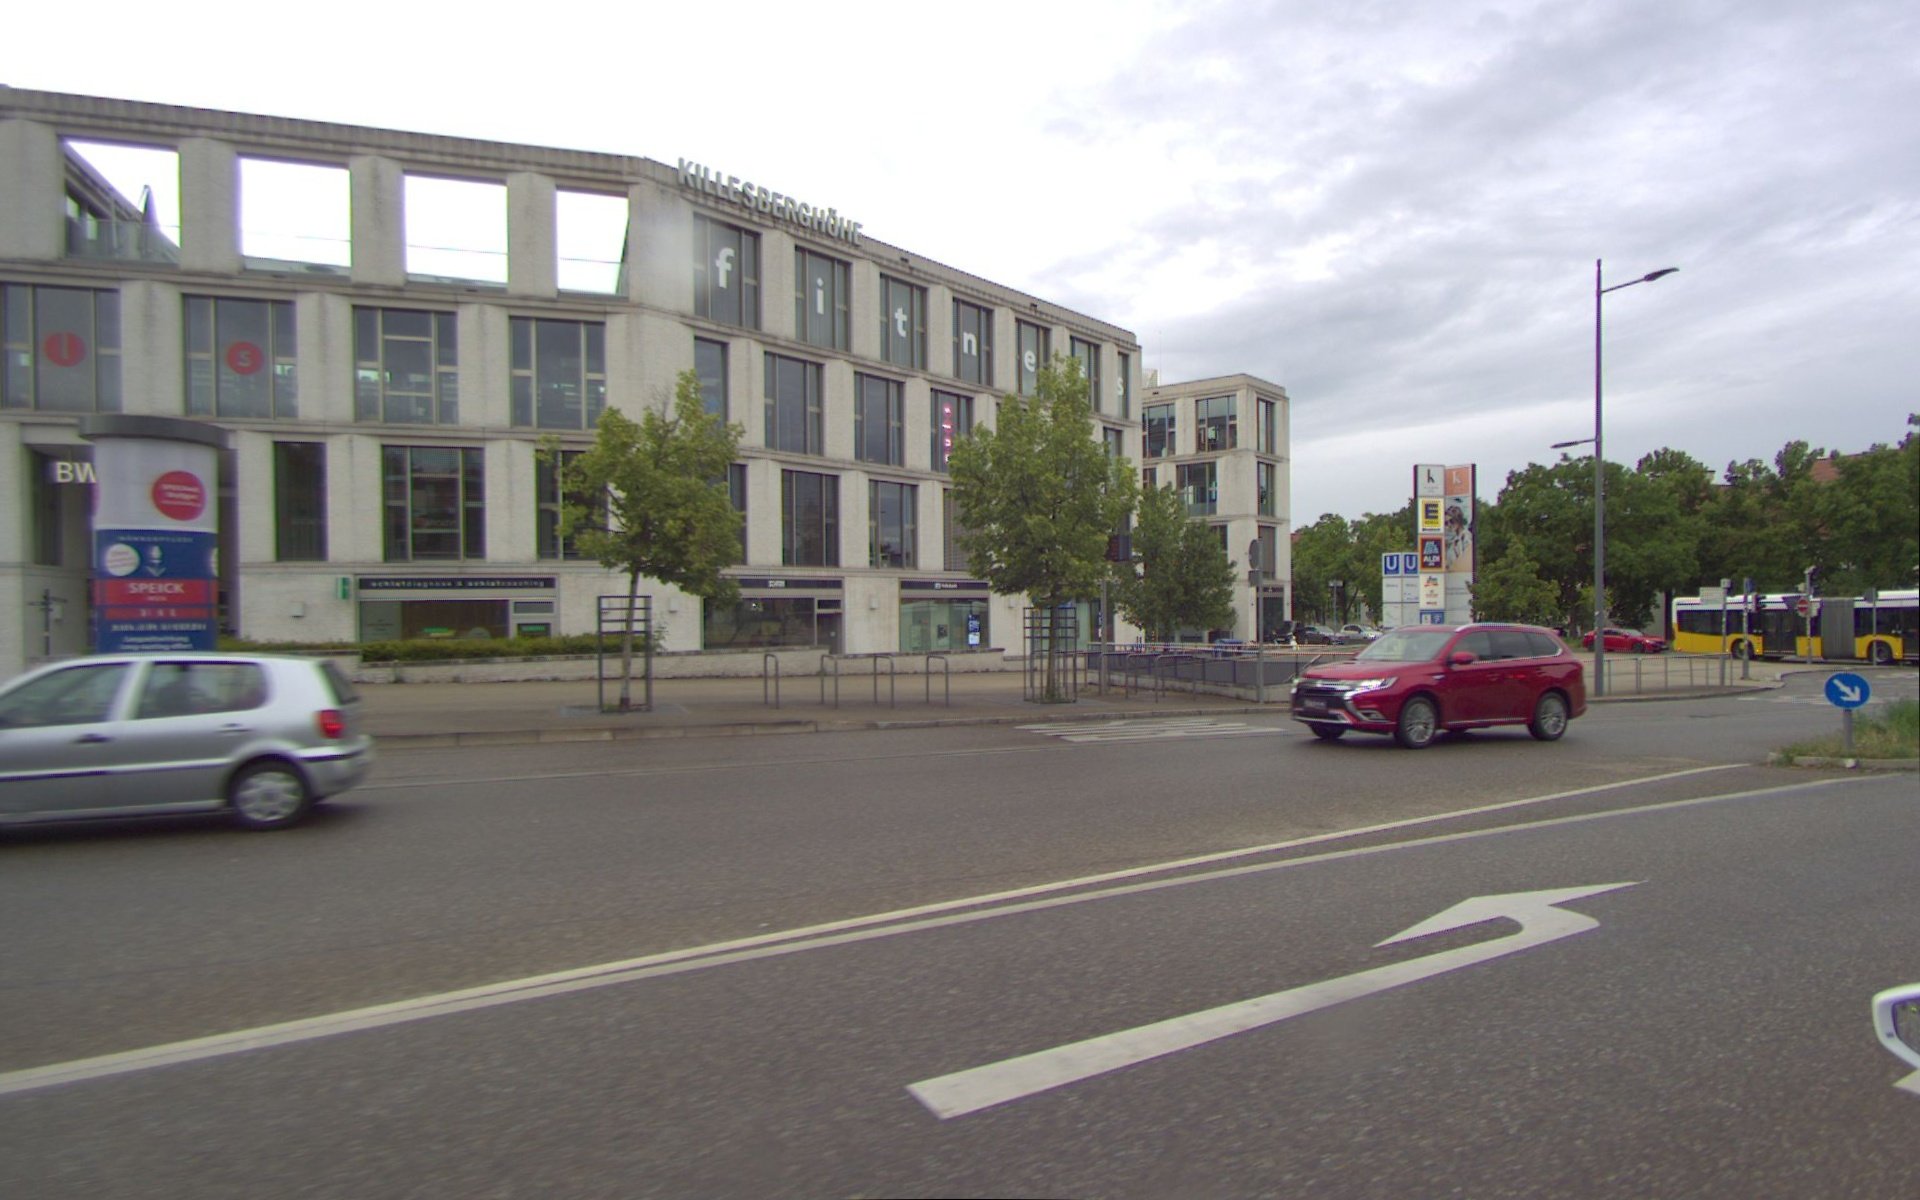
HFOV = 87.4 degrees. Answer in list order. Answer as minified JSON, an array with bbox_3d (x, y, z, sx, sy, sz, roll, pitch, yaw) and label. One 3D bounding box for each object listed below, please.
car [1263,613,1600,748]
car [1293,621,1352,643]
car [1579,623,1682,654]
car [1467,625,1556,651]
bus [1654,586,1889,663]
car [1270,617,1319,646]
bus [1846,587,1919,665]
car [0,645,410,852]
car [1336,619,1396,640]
[{"bbox_3d":[6.862,1.094,14.582,4.672,1.705,1.848,1,-3,-25],"label":"car"},{"bbox_3d":[25.802,2.285,71.627,1.646,1.444,3.955,1,0,-25],"label":"car"},{"bbox_3d":[38.484,2.192,57.799,1.973,1.444,4.560,3,0,-24],"label":"car"},{"bbox_3d":[33.553,2.269,61.224,1.973,1.444,4.432,1,0,-25],"label":"car"},{"bbox_3d":[38.600,1.141,48.267,2.854,3.351,8.534,1,-1,-21],"label":"bus"},{"bbox_3d":[21.142,1.945,63.409,1.751,1.754,3.984,0,-1,37],"label":"car"},{"bbox_3d":[40.631,1.029,39.112,2.844,3.144,9.745,0,-1,-8],"label":"bus"},{"bbox_3d":[-6.703,1.105,8.098,3.825,1.435,1.758,1,-3,-25],"label":"car"},{"bbox_3d":[29.004,2.087,71.903,1.821,1.444,3.761,1,0,-25],"label":"car"}]
